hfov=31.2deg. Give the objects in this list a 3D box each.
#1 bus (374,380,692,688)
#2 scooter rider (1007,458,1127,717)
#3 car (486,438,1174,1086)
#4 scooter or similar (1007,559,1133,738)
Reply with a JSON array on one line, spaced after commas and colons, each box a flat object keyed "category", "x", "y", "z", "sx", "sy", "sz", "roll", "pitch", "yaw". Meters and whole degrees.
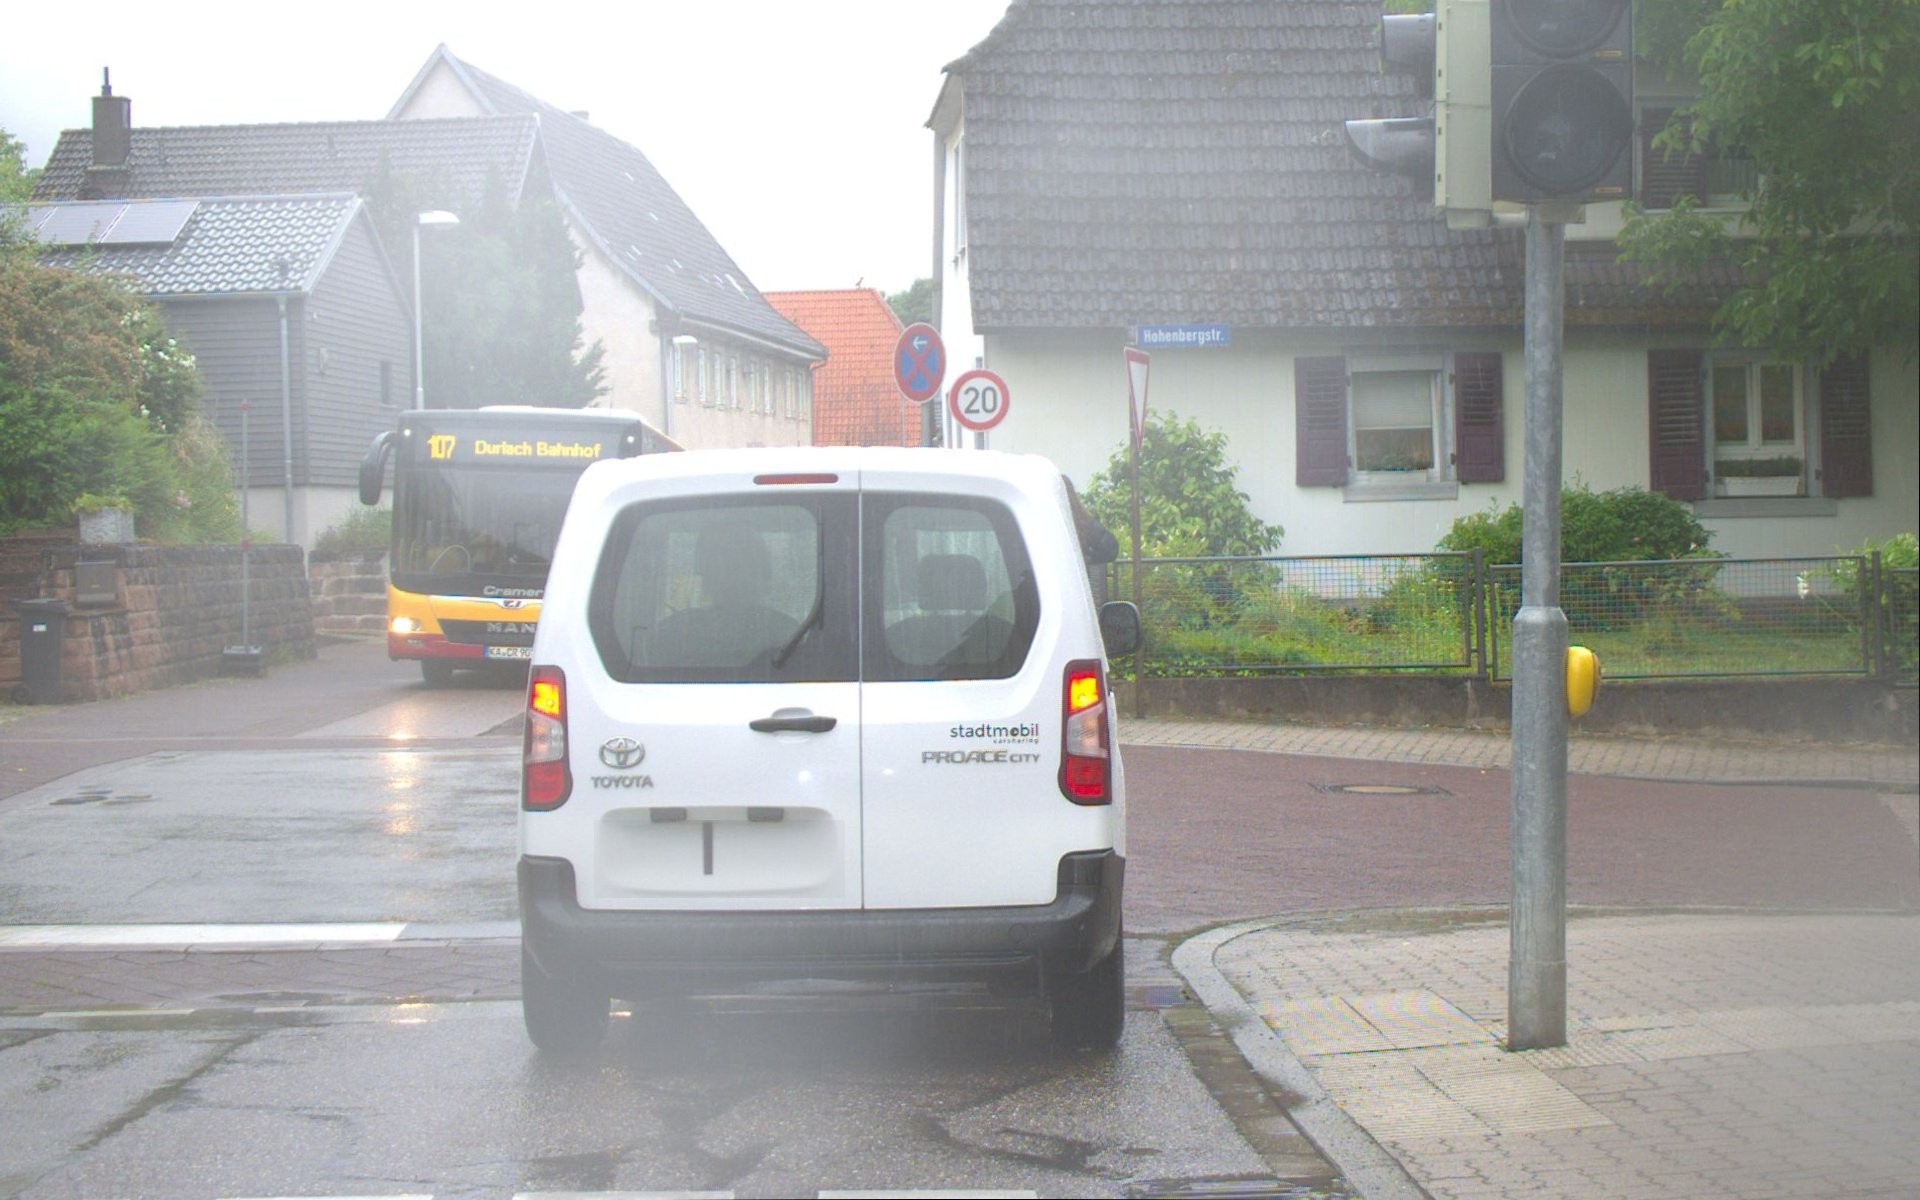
[{"category": "bus", "x": -4.621, "y": -0.915, "z": 39.528, "sx": 2.649, "sy": 2.989, "sz": 12.195, "roll": 0, "pitch": 3, "yaw": -2}, {"category": "scooter rider", "x": 0.724, "y": -0.098, "z": 23.273, "sx": 0.731, "sy": 1.727, "sz": 0.518, "roll": -1, "pitch": 2, "yaw": -8}, {"category": "car", "x": -0.427, "y": 0.415, "z": 11.454, "sx": 1.894, "sy": 1.787, "sz": 3.814, "roll": 0, "pitch": 1, "yaw": -2}, {"category": "scooter or similar", "x": 0.730, "y": 0.307, "z": 23.157, "sx": 0.620, "sy": 1.123, "sz": 1.402, "roll": 0, "pitch": 3, "yaw": -8}]
